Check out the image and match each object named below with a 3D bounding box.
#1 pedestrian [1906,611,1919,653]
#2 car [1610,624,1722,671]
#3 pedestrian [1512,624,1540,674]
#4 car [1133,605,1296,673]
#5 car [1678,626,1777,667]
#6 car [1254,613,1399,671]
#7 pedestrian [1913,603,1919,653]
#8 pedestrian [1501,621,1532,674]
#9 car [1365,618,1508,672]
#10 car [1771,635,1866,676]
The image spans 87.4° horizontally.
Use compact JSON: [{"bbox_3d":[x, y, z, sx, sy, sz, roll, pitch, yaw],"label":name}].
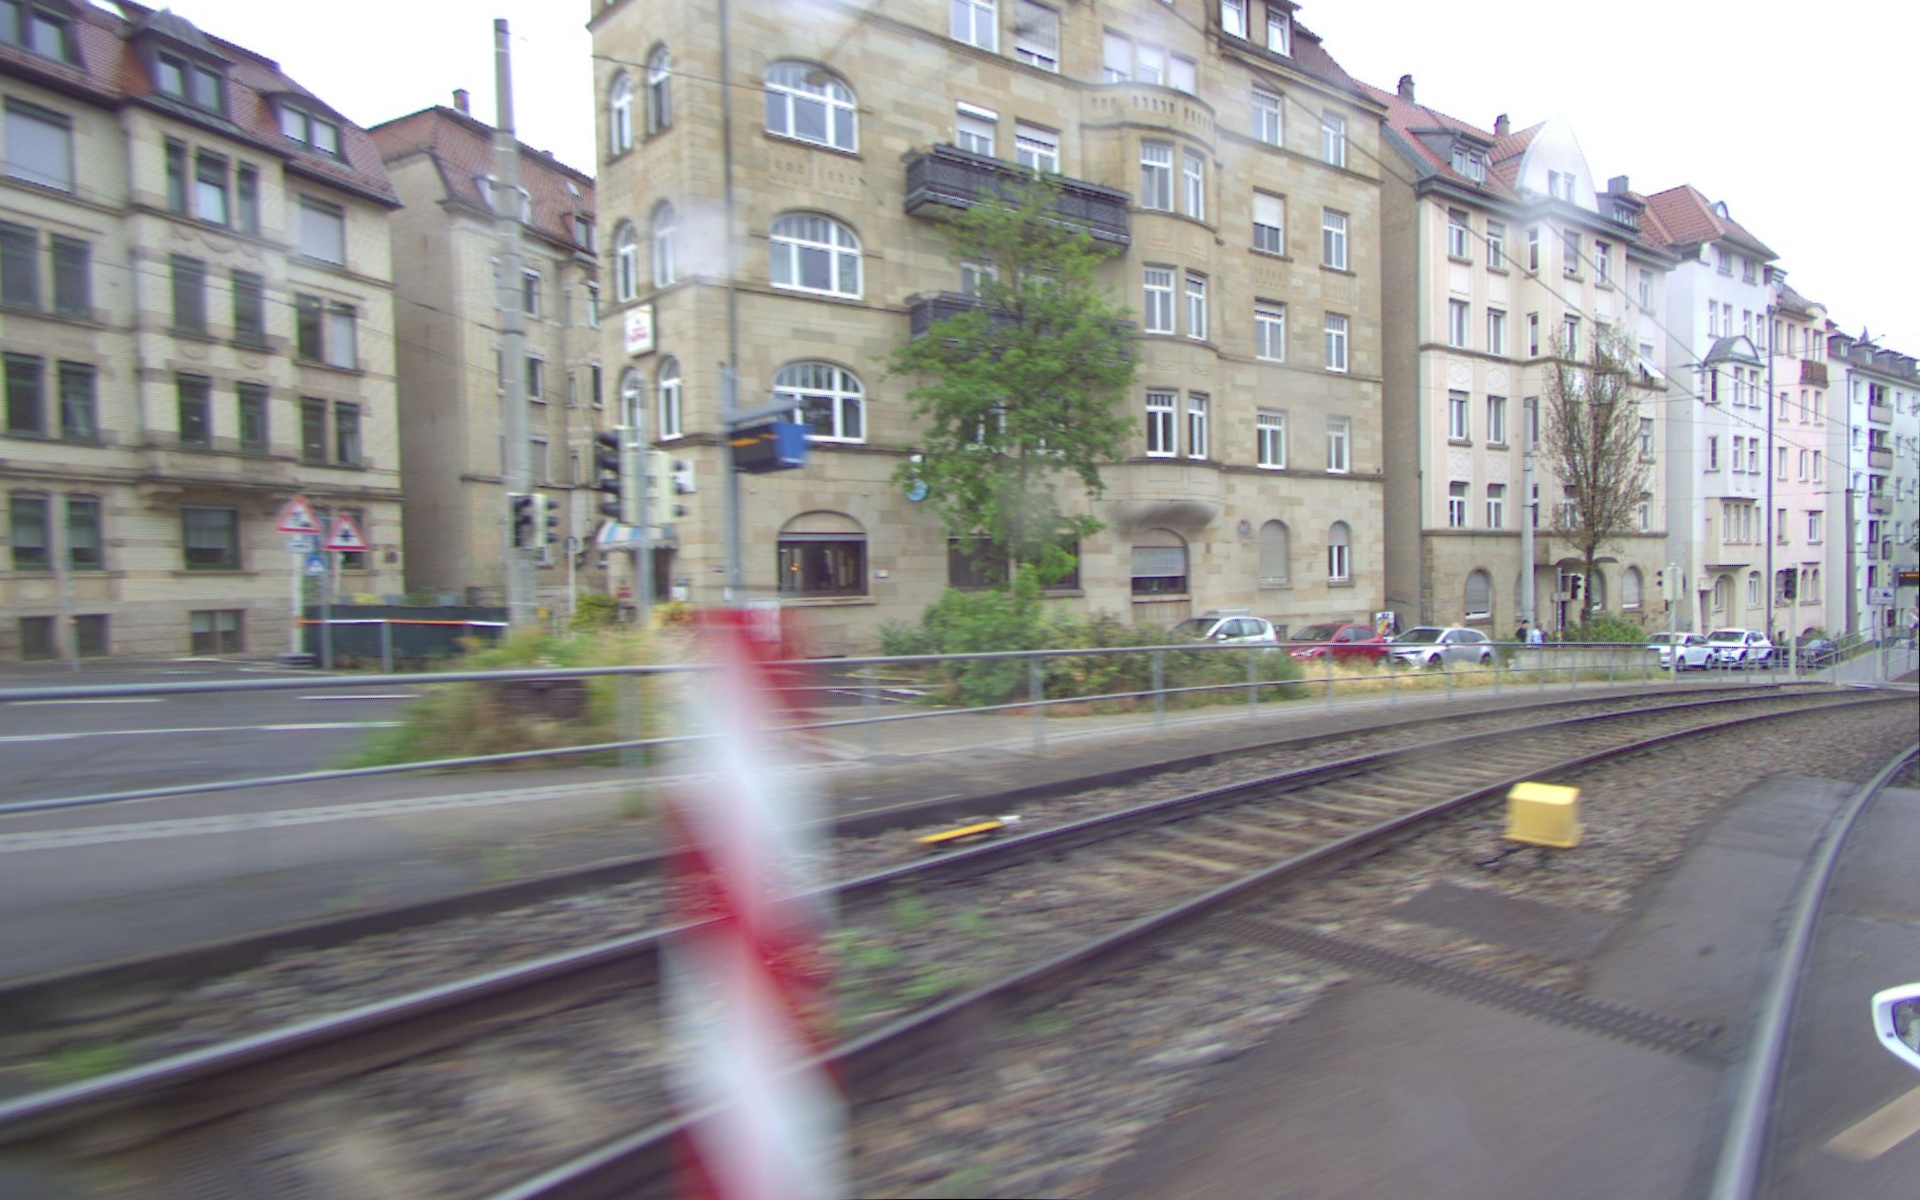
[{"bbox_3d":[36.646,1.228,38.435,0.557,1.626,0.513,2,-2,-34],"label":"pedestrian"},{"bbox_3d":[27.643,1.861,39.307,4.485,1.553,1.982,4,1,-33],"label":"car"},{"bbox_3d":[18.027,1.558,31.985,0.614,1.552,0.517,2,0,-32],"label":"pedestrian"},{"bbox_3d":[6.428,0.966,25.221,4.131,1.568,1.621,2,-1,-33],"label":"car"},{"bbox_3d":[32.337,1.951,42.304,4.485,1.644,1.913,2,-1,-32],"label":"car"},{"bbox_3d":[10.167,1.165,27.758,4.130,1.461,1.621,2,-1,-33],"label":"car"},{"bbox_3d":[36.369,1.076,37.818,0.592,1.874,0.558,2,-2,-34],"label":"pedestrian"},{"bbox_3d":[17.476,1.493,31.551,0.614,1.614,0.621,2,0,-32],"label":"pedestrian"},{"bbox_3d":[14.390,1.342,30.236,4.819,1.461,1.706,2,-1,-35],"label":"car"},{"bbox_3d":[39.965,2.596,46.751,4.759,1.754,1.983,3,-2,-31],"label":"car"}]
